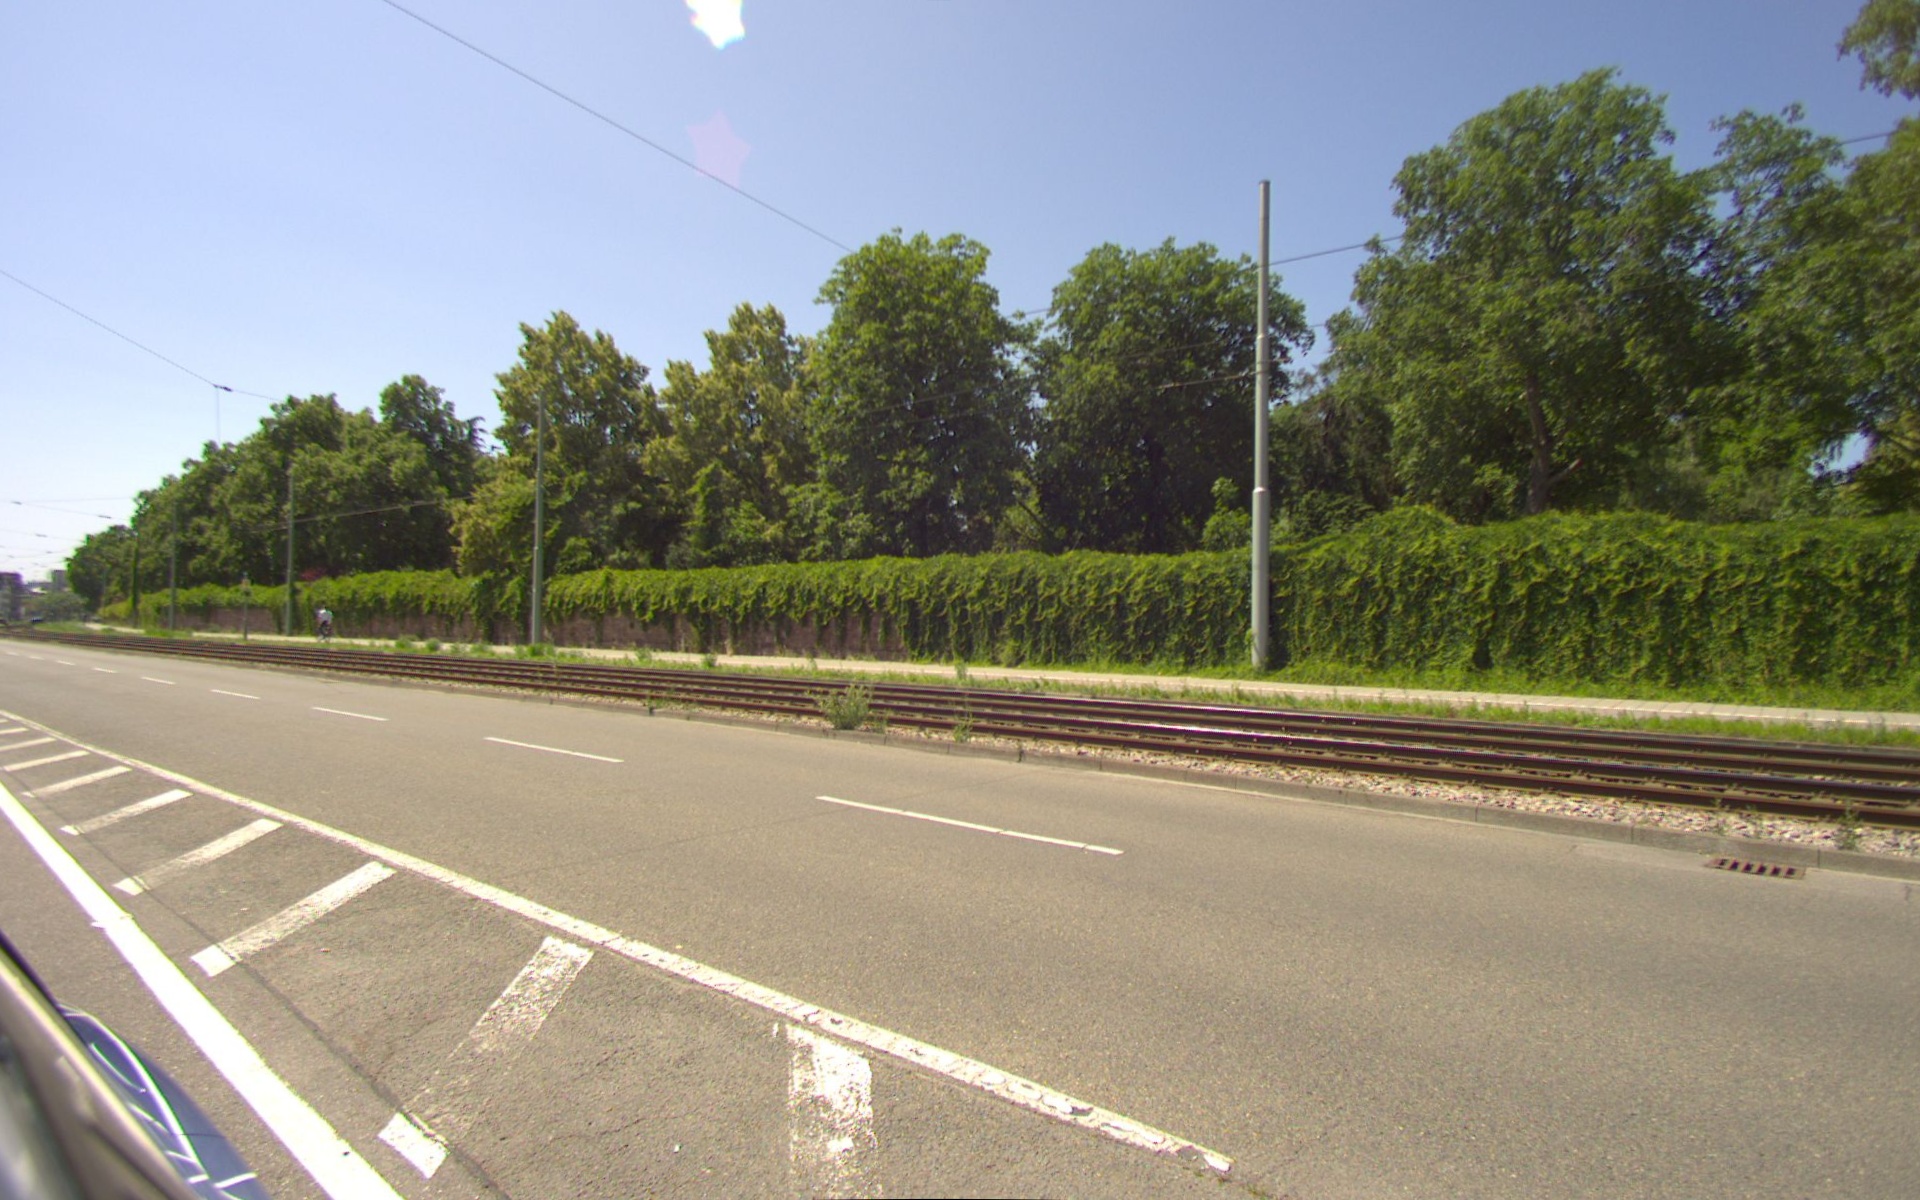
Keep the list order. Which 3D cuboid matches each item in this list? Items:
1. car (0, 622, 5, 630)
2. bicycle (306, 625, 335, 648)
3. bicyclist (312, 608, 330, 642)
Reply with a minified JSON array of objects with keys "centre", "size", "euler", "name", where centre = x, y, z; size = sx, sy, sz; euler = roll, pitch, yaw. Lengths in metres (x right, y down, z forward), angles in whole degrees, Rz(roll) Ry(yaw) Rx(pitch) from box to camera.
[{"centre":[-166.144,4.508,174.157],"size":[1.772,1.508,3.975],"euler":[-1,-1,-30],"name":"car"},{"centre":[-31.687,1.799,50.131],"size":[1.975,1.063,0.610],"euler":[-1,0,38],"name":"bicycle"},{"centre":[-31.648,1.233,50.121],"size":[0.768,1.624,0.477],"euler":[-1,0,38],"name":"bicyclist"}]
